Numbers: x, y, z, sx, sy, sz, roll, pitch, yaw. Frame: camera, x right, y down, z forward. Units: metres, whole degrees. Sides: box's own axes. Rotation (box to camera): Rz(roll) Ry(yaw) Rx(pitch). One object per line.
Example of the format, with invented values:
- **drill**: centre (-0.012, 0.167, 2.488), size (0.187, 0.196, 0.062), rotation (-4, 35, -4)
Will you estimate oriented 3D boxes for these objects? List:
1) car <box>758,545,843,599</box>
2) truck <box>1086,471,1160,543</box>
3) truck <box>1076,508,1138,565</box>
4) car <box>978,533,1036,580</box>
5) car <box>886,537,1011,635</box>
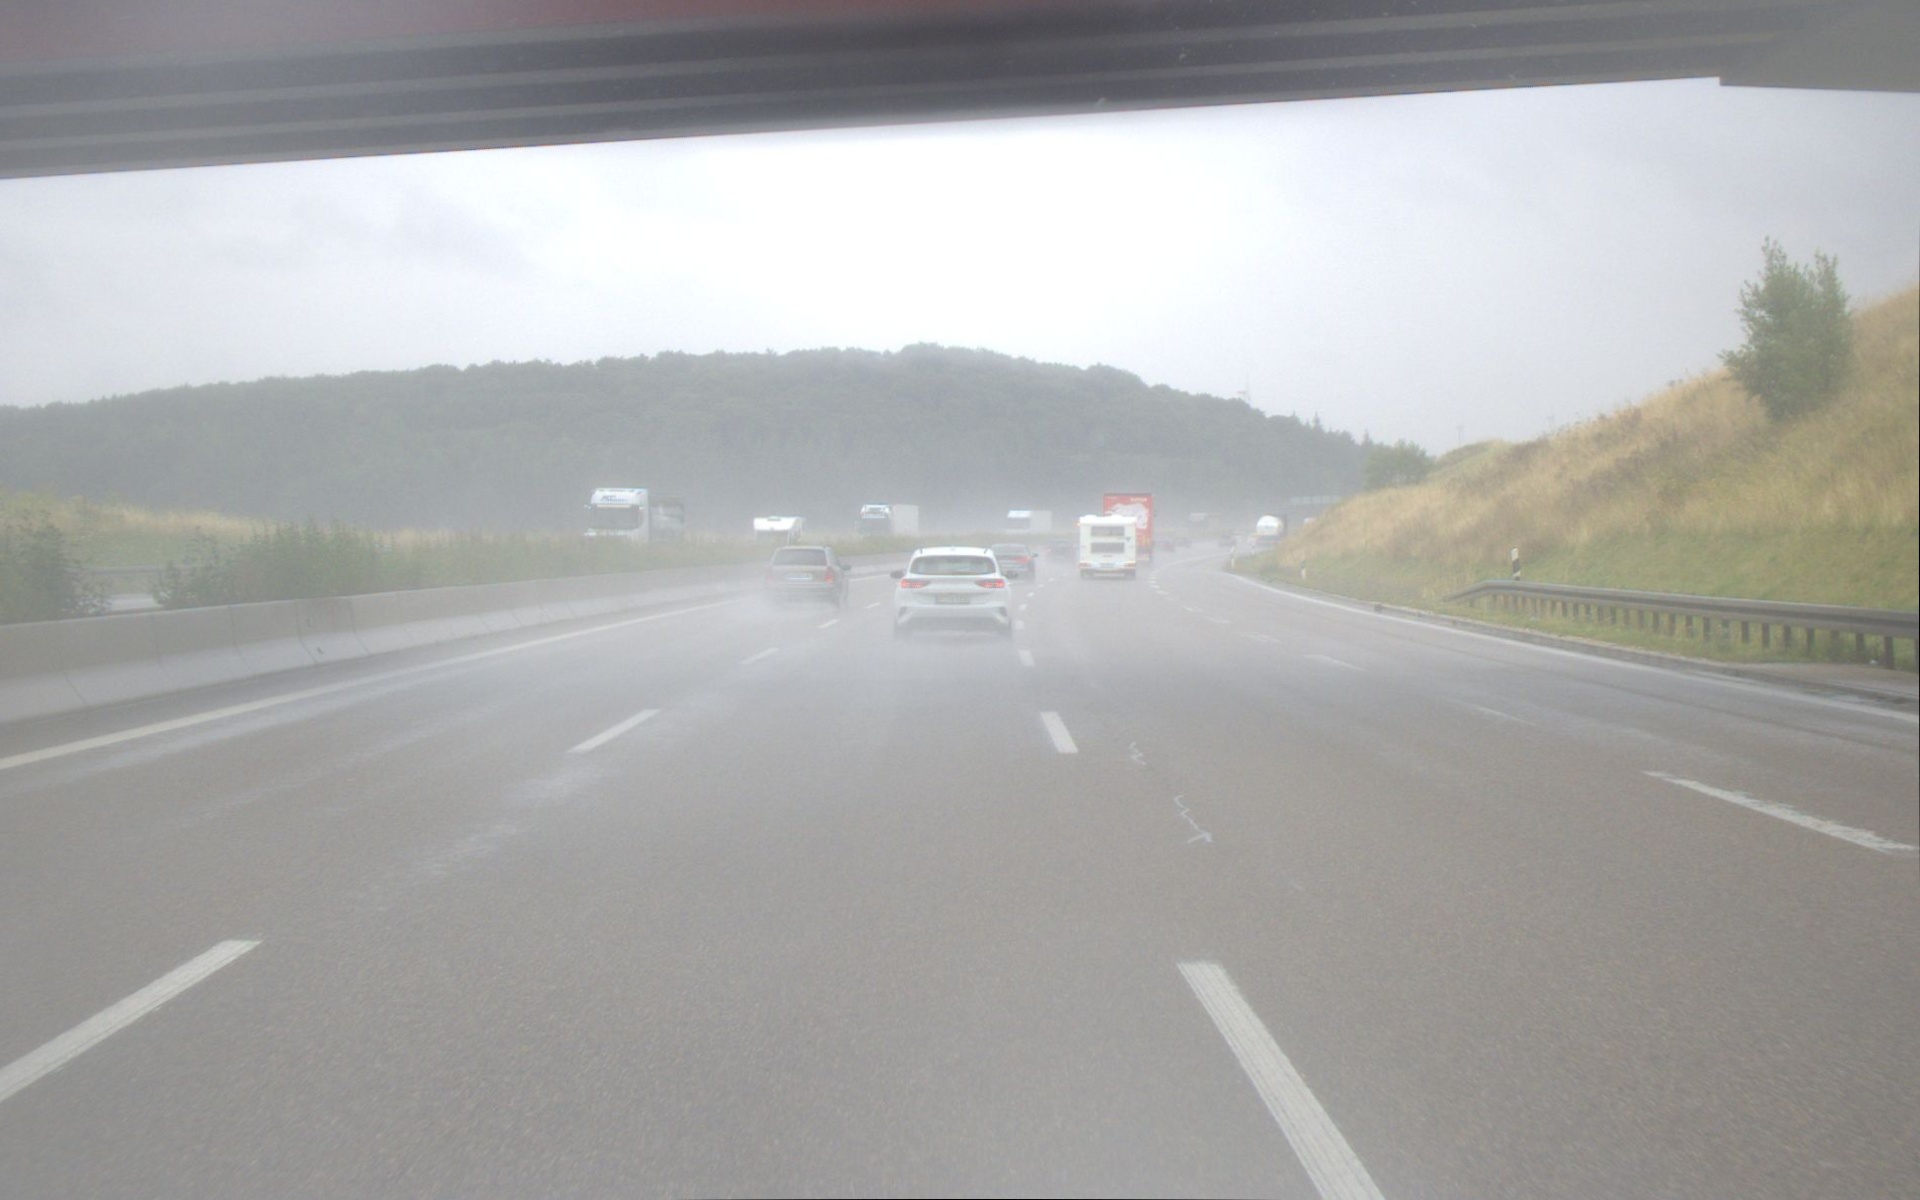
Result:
- **car**: centre (-3.569, -0.615, 76.689), size (1.823, 1.152, 4.213), rotation (1, 0, -3)
- **truck**: centre (8.758, -5.082, 186.190), size (3.527, 3.730, 11.427), rotation (1, 2, 0)
- **truck**: centre (5.848, -2.526, 136.560), size (2.408, 2.244, 4.692), rotation (0, 1, 3)
- **car**: centre (1.651, -1.536, 120.296), size (1.993, 1.612, 4.000), rotation (0, 1, 1)
- **car**: centre (-0.213, -0.220, 53.379), size (1.867, 1.458, 4.000), rotation (0, 0, -1)
